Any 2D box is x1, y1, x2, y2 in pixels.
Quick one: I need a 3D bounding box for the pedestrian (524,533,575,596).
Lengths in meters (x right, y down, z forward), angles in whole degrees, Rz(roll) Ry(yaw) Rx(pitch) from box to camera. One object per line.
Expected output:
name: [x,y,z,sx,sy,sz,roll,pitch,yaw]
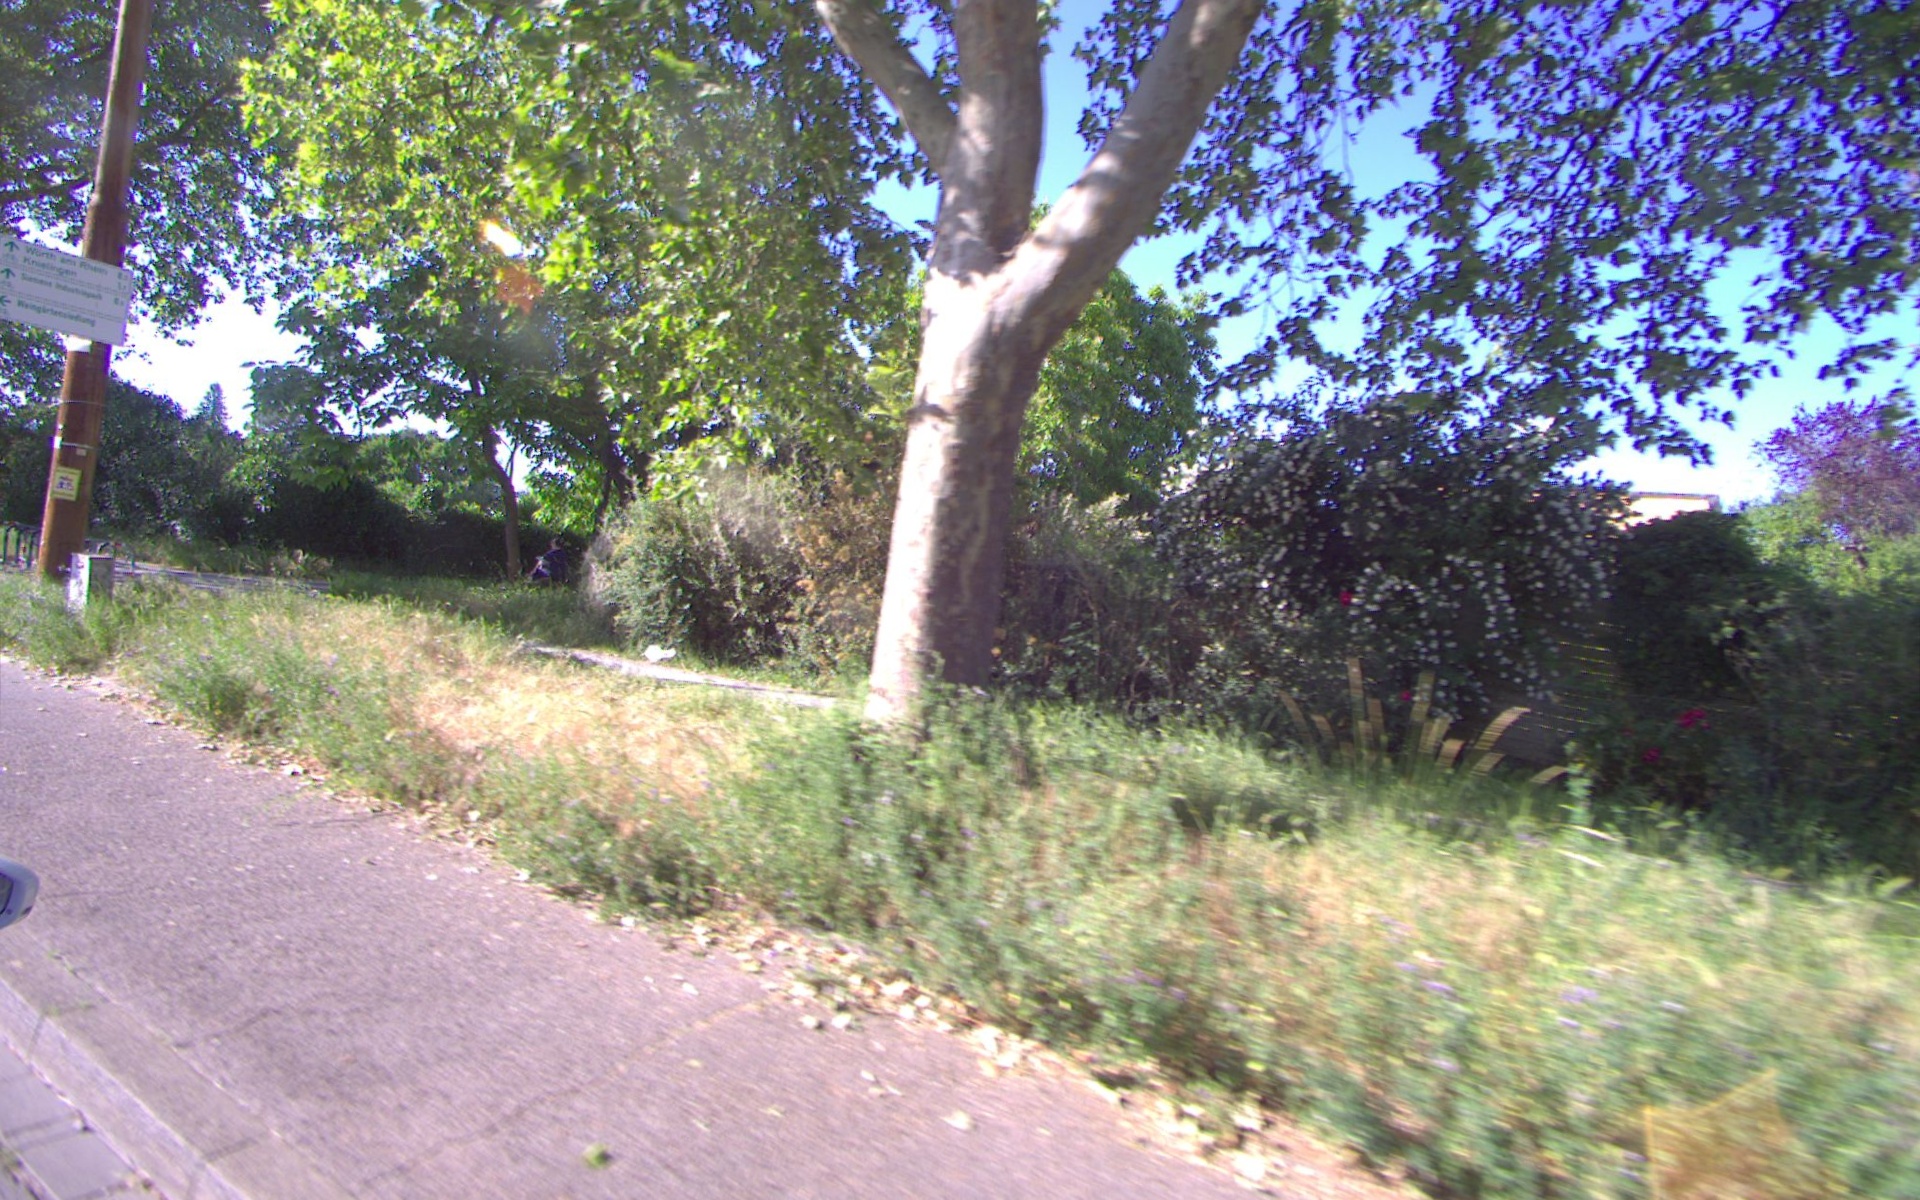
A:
pedestrian: [-8.832,-0.758,21.682,0.677,1.234,0.736,7,-1,-3]
